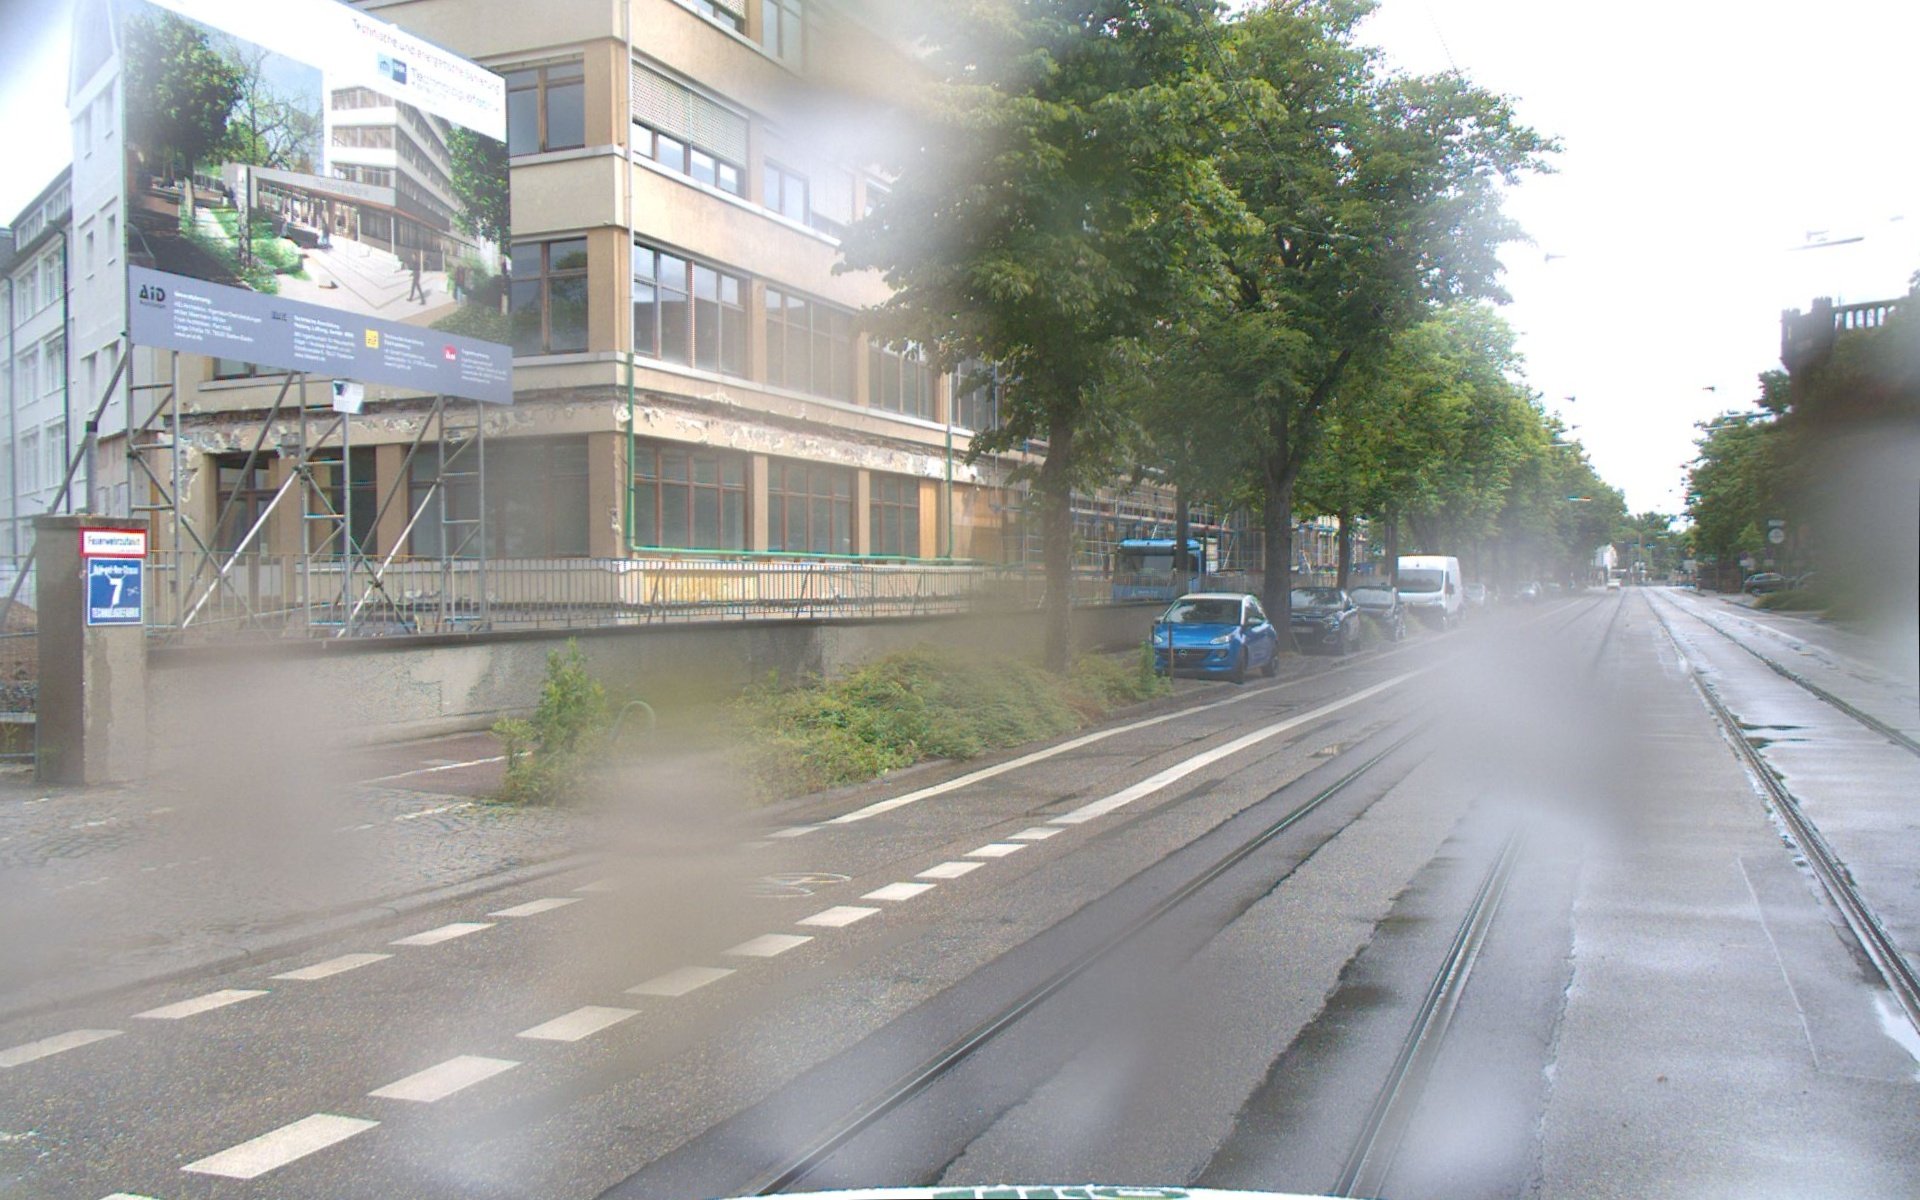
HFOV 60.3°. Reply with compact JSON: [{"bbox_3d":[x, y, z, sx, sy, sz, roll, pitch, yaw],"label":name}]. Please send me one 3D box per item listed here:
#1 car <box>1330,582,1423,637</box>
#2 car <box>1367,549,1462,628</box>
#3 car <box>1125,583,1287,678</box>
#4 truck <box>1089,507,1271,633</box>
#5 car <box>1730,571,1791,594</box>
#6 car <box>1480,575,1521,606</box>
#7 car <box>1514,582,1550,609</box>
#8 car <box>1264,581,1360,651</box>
[{"bbox_3d":[12.212,0.248,48.365,1.777,1.496,4.067,1,1,27],"label":"car"},{"bbox_3d":[15.579,-0.373,56.441,2.535,2.517,6.154,1,0,20],"label":"car"},{"bbox_3d":[4.368,0.493,28.921,1.846,1.496,3.999,1,0,23],"label":"car"},{"bbox_3d":[7.180,-0.864,52.341,3.167,3.589,9.907,1,0,23],"label":"truck"},{"bbox_3d":[61.916,-1.369,127.974,4.201,1.680,1.997,2,0,28],"label":"car"},{"bbox_3d":[31.717,-0.555,97.056,1.821,1.772,3.998,1,0,24],"label":"car"},{"bbox_3d":[37.419,-0.273,108.141,1.821,1.666,3.998,1,0,24],"label":"car"},{"bbox_3d":[8.340,0.354,38.975,1.844,1.496,4.002,1,0,17],"label":"car"}]
